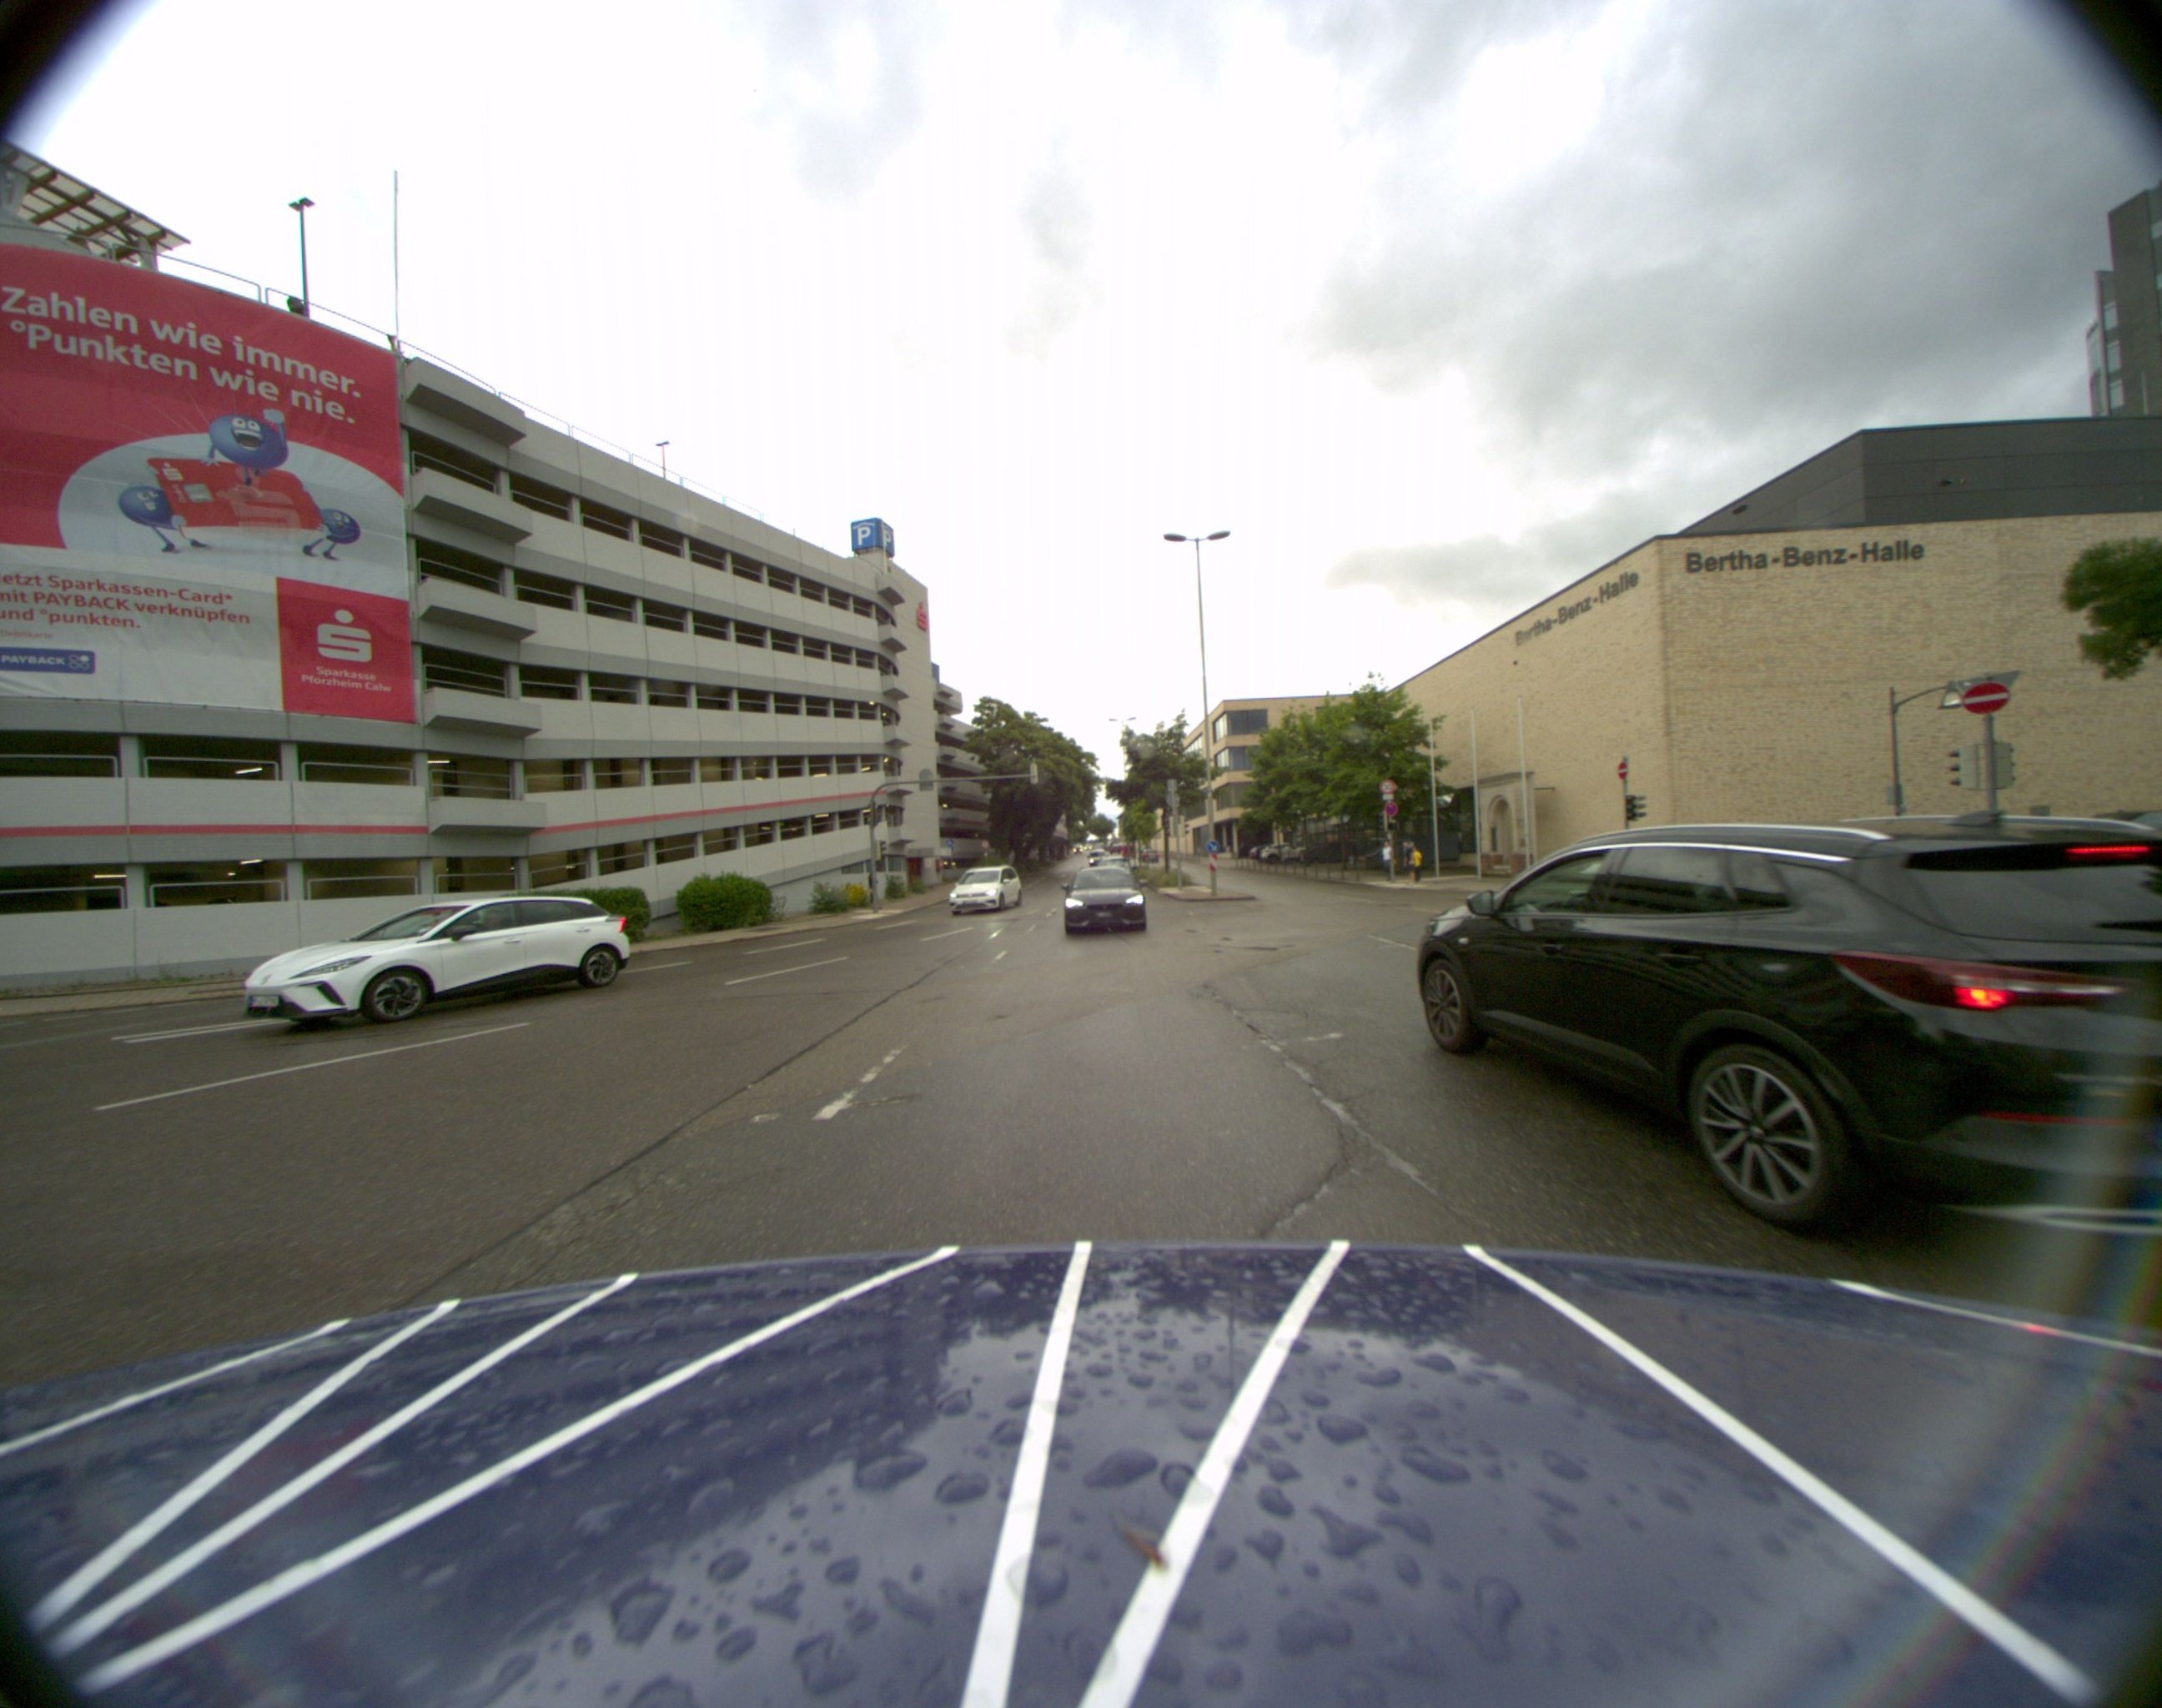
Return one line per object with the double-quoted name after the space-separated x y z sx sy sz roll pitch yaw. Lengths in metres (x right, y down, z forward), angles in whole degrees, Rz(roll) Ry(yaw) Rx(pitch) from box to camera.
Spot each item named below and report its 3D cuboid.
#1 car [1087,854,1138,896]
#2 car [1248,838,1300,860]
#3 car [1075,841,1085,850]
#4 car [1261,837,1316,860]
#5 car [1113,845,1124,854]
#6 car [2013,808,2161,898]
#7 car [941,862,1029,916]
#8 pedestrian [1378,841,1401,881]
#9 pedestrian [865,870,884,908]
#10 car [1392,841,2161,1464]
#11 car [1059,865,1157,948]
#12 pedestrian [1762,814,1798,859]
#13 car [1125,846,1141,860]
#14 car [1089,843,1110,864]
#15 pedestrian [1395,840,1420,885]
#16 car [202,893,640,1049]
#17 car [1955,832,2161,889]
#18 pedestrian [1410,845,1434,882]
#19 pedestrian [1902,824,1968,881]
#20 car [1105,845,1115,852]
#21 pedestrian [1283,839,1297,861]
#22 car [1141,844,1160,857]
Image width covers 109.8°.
1.357 0.886 34.475 1.846 1.647 3.999 -5 1 -2 "car"
16.867 -0.443 66.474 3.996 1.576 2.000 -4 1 4 "car"
-0.272 -1.840 165.962 1.998 1.716 4.400 -3 -1 1 "car"
17.432 -0.446 63.958 3.996 1.576 2.000 -4 1 4 "car"
6.641 -0.821 135.409 1.675 1.598 4.300 0 0 -1 "car"
24.665 -0.001 17.178 4.789 1.914 2.000 1 0 -1 "car"
-3.432 1.221 28.074 1.997 1.716 4.403 -3 -1 9 "car"
13.552 0.297 33.420 0.596 1.721 0.692 -5 1 -4 "pedestrian"
-9.290 1.570 34.156 0.584 1.650 0.519 0 2 18 "pedestrian"
3.463 0.778 4.141 1.812 1.585 4.295 -3 0 1 "car"
0.463 1.051 17.006 1.739 1.380 4.581 -5 1 -2 "car"
22.033 -0.551 23.945 0.622 1.368 0.475 -5 1 1 "pedestrian"
7.137 -0.174 104.828 1.855 1.841 4.300 0 0 -1 "car"
1.797 -0.074 73.327 1.805 1.818 3.949 -5 0 2 "car"
13.214 0.334 30.737 0.595 1.761 0.692 -5 1 -1 "pedestrian"
-8.776 1.470 10.663 1.803 1.469 4.215 -5 -1 19 "car"
26.628 0.168 20.481 3.998 1.433 1.999 1 0 -4 "car"
14.438 0.392 32.159 0.595 1.508 0.692 -5 1 -1 "pedestrian"
26.860 -0.051 23.908 1.113 1.690 0.807 -5 1 -2 "pedestrian"
6.345 -1.230 168.266 2.028 1.598 4.300 0 0 -1 "car"
16.078 -0.325 58.547 0.804 1.638 0.976 -4 1 7 "pedestrian"
7.743 -0.399 85.126 1.675 1.461 4.300 -1 0 -1 "car"
